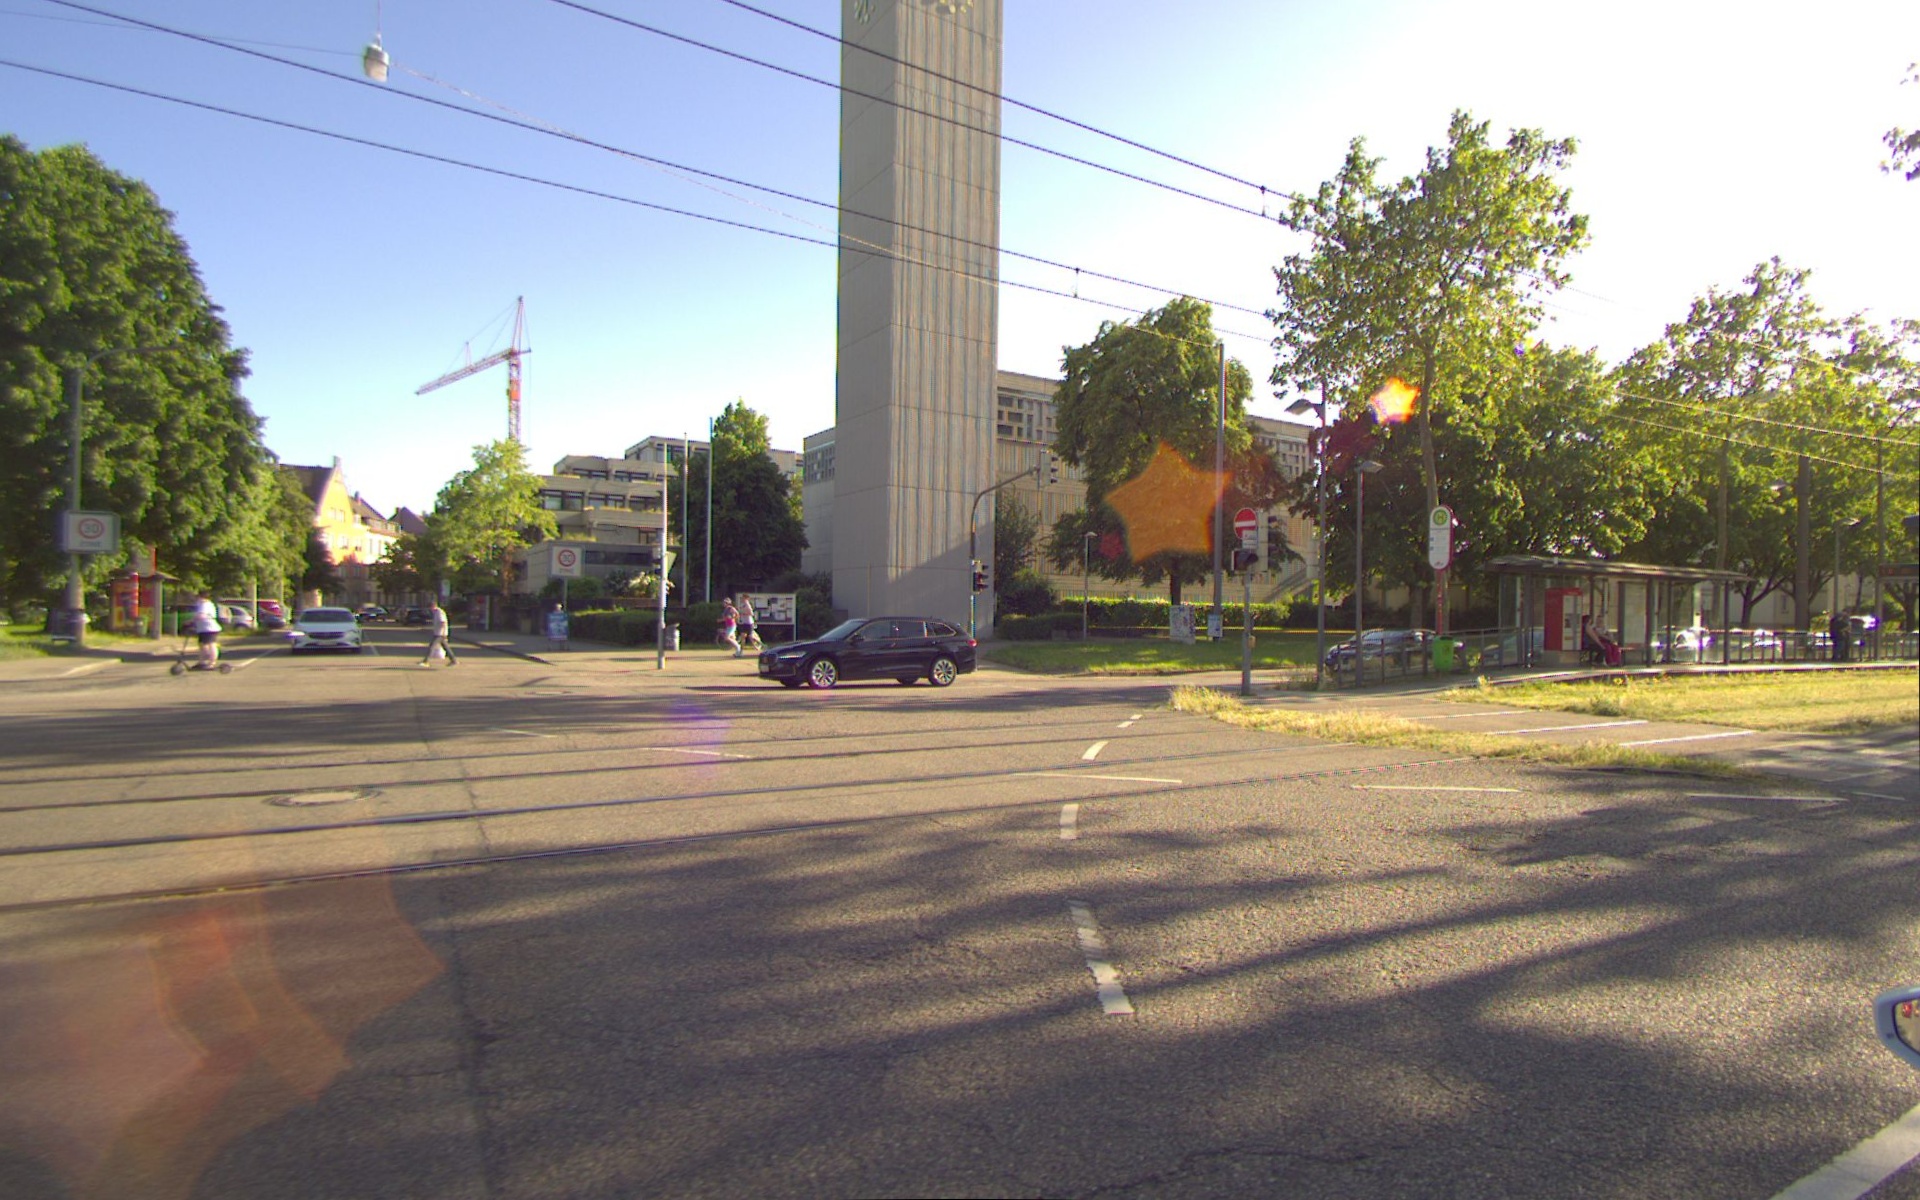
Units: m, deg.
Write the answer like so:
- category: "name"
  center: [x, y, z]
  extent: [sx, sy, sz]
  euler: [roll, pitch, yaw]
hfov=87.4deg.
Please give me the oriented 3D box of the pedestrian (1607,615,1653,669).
- category: "pedestrian"
  center: [17.119, 1.066, 25.670]
  extent: [0.725, 1.359, 0.691]
  euler: [1, 0, -28]

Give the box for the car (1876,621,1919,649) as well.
- category: "car"
  center: [54.927, 2.023, 58.047]
  extent: [3.883, 1.566, 1.708]
  euler: [1, -1, -27]

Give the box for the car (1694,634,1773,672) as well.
- category: "car"
  center: [36.110, 2.439, 46.878]
  extent: [3.884, 1.658, 1.586]
  euler: [1, -1, -30]

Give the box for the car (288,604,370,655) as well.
- category: "car"
  center: [-20.295, 0.902, 32.454]
  extent: [1.976, 1.506, 4.494]
  euler: [1, -1, -29]

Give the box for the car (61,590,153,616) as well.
- category: "car"
  center: [-53.749, 0.202, 63.379]
  extent: [3.865, 1.572, 1.996]
  euler: [1, -1, -12]

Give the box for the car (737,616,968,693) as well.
- category: "car"
  center: [-2.236, 1.099, 21.256]
  extent: [4.479, 1.461, 1.939]
  euler: [1, -1, -33]

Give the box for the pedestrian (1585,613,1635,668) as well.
- category: "pedestrian"
  center: [16.333, 1.011, 25.255]
  extent: [0.761, 1.359, 0.732]
  euler: [1, 0, -15]

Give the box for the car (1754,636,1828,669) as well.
- category: "car"
  center: [41.361, 2.590, 49.964]
  extent: [3.973, 1.508, 1.586]
  euler: [1, -1, -31]

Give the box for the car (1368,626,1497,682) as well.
- category: "car"
  center: [11.229, 1.262, 23.862]
  extent: [2.929, 1.220, 1.319]
  euler: [2, -1, -29]

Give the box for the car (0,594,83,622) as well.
- category: "car"
  center: [-54.022, 0.461, 58.555]
  extent: [3.873, 1.572, 1.992]
  euler: [1, 0, -18]

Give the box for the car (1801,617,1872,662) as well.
- category: "car"
  center: [46.647, 2.090, 53.459]
  extent: [3.887, 2.292, 1.705]
  euler: [1, -1, -30]

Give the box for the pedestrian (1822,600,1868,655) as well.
- category: "pedestrian"
  center: [28.439, 0.882, 32.285]
  extent: [0.745, 1.712, 0.879]
  euler: [1, 0, -29]

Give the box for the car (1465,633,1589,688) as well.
- category: "car"
  center: [16.174, 1.677, 28.641]
  extent: [3.497, 1.446, 1.597]
  euler: [1, -1, -32]

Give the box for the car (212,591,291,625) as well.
- category: "car"
  center: [-45.674, 0.522, 64.816]
  extent: [3.954, 2.040, 1.984]
  euler: [1, 0, -31]

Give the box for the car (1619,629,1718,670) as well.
- category: "car"
  center: [27.093, 1.879, 38.405]
  extent: [3.882, 1.464, 1.587]
  euler: [1, -1, -29]

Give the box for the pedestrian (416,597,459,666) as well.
- category: "pedestrian"
  center: [-13.342, 0.796, 25.642]
  extent: [0.872, 1.718, 0.590]
  euler: [1, 0, -35]

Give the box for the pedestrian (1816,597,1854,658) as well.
- category: "pedestrian"
  center: [27.734, 0.864, 31.846]
  extent: [0.629, 1.892, 0.717]
  euler: [1, 0, -29]

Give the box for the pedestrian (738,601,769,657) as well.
- category: "pedestrian"
  center: [-6.358, 0.896, 30.978]
  extent: [0.740, 1.704, 0.590]
  euler: [1, 0, -35]

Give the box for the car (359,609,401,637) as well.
- category: "car"
  center: [-32.902, 1.268, 57.059]
  extent: [1.976, 1.481, 4.494]
  euler: [1, -1, -29]

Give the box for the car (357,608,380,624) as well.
- category: "car"
  center: [-61.401, 1.681, 104.338]
  extent: [1.976, 1.576, 4.494]
  euler: [1, -1, -29]

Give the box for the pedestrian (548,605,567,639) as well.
- category: "pedestrian"
  center: [-18.049, 0.979, 45.072]
  extent: [0.543, 1.486, 0.859]
  euler: [1, 0, -40]

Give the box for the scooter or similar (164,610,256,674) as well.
- category: "scooter or similar"
  center: [-15.950, 0.884, 21.400]
  extent: [1.525, 1.327, 0.592]
  euler: [1, 0, -35]

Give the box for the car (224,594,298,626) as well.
- category: "car"
  center: [-47.858, 0.680, 68.885]
  extent: [3.954, 2.040, 1.984]
  euler: [1, 0, -31]

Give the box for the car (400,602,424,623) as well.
- category: "car"
  center: [-53.878, 1.207, 98.677]
  extent: [1.976, 2.057, 4.494]
  euler: [1, -1, -29]

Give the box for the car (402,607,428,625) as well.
- category: "car"
  center: [-48.828, 1.426, 89.967]
  extent: [1.976, 1.481, 4.494]
  euler: [1, -1, -29]

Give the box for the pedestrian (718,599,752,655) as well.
- category: "pedestrian"
  center: [-7.072, 0.844, 31.560]
  extent: [0.872, 1.746, 0.590]
  euler: [1, 0, -35]

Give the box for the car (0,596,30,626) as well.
- category: "car"
  center: [-51.843, 0.546, 52.742]
  extent: [3.873, 1.572, 1.992]
  euler: [1, 0, -18]

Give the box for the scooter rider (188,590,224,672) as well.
- category: "scooter rider"
  center: [-16.020, 0.654, 21.346]
  extent: [0.568, 1.718, 0.590]
  euler: [1, 0, -35]

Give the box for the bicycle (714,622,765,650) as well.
- category: "bicycle"
  center: [-7.575, 1.247, 34.544]
  extent: [1.681, 0.940, 0.443]
  euler: [1, 0, -33]
